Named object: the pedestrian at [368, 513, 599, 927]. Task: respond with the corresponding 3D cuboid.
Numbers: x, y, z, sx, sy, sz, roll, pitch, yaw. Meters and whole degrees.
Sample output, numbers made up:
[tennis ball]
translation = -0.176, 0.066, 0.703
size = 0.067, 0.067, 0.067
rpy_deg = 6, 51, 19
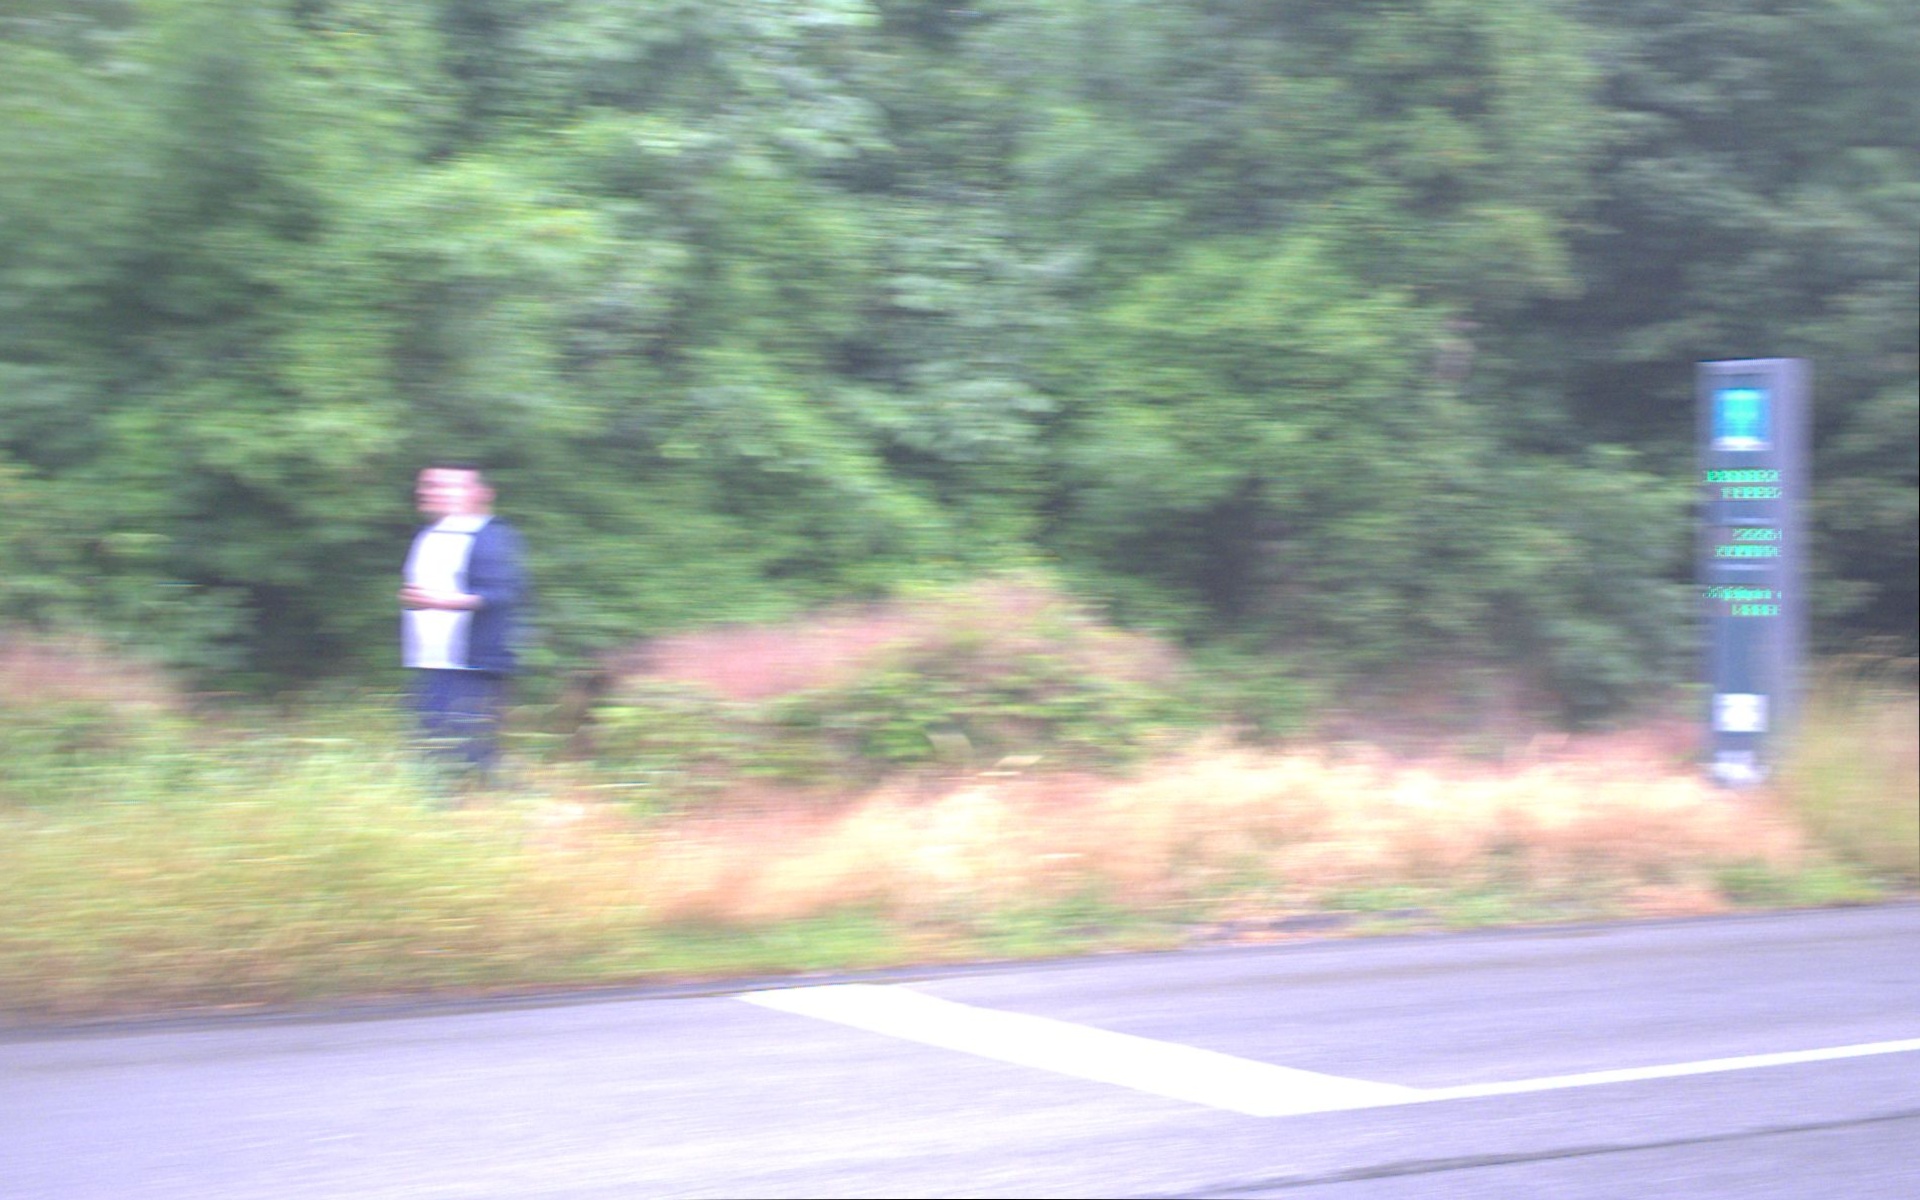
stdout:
[pedestrian]
translation = -2.142, 0.518, 15.415
size = 0.761, 1.793, 0.778
rpy_deg = 1, 0, -30
